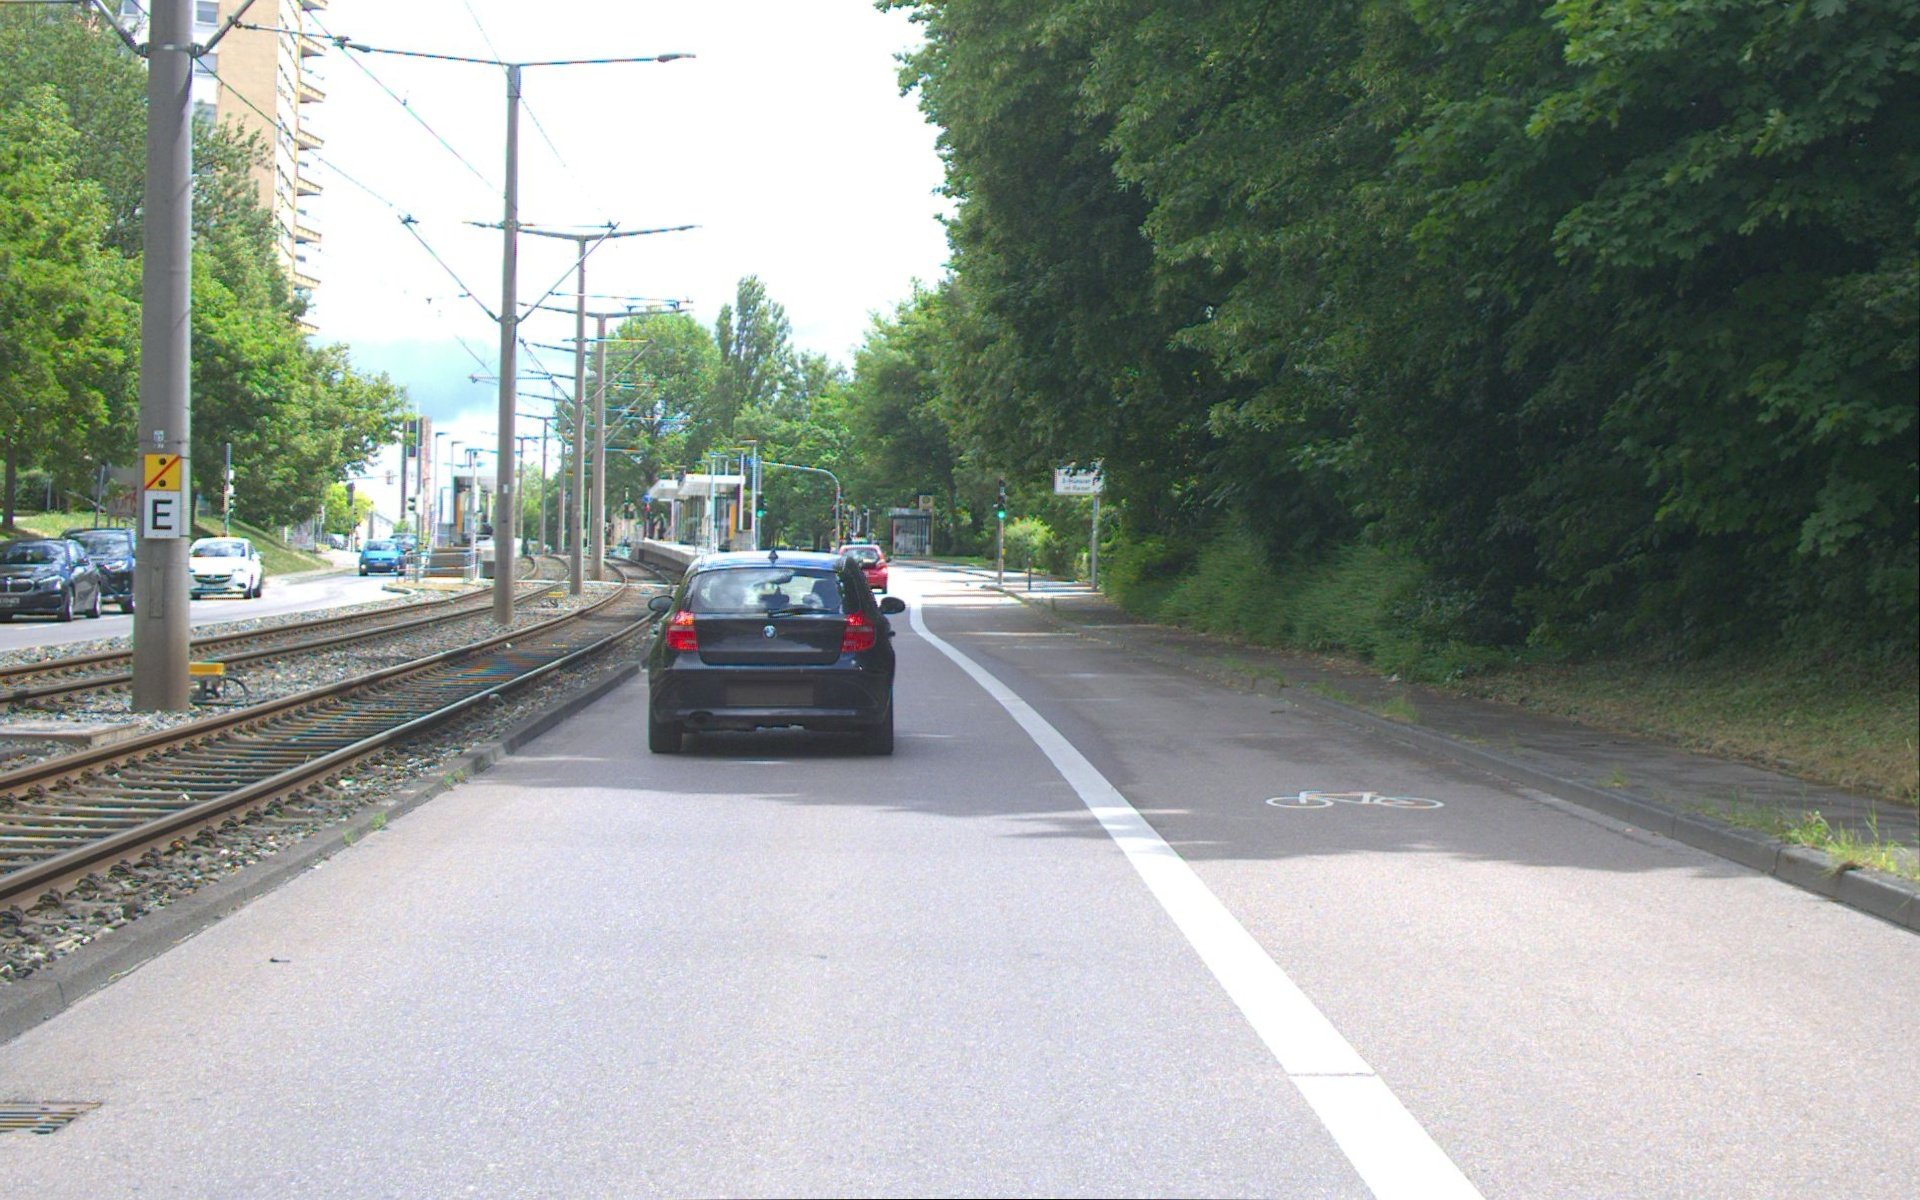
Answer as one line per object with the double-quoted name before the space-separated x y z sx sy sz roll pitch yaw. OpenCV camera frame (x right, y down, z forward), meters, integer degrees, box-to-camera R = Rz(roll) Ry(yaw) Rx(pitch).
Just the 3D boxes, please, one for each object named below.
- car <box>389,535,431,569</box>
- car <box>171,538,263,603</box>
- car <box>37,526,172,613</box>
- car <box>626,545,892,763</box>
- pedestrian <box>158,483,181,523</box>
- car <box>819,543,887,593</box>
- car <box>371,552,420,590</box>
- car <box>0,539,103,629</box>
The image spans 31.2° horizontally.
"car" -25.780 -2.252 161.161 1.715 1.559 3.698 1 1 -5
"car" -17.971 -0.725 83.245 1.781 1.527 4.245 0 1 -7
"car" -16.430 -0.578 66.181 1.774 1.624 4.383 0 0 -4
"car" -1.467 0.330 25.127 1.781 1.454 3.922 0 1 -3
"pedestrian" -30.604 -3.747 133.029 0.634 1.529 0.634 1 1 16
"car" -3.182 -0.960 101.896 1.781 1.454 3.922 1 1 -5
"car" -22.229 -1.166 135.290 1.715 1.437 3.944 0 1 -12
"car" -16.094 -0.304 59.506 1.774 1.493 3.998 1 1 -4
